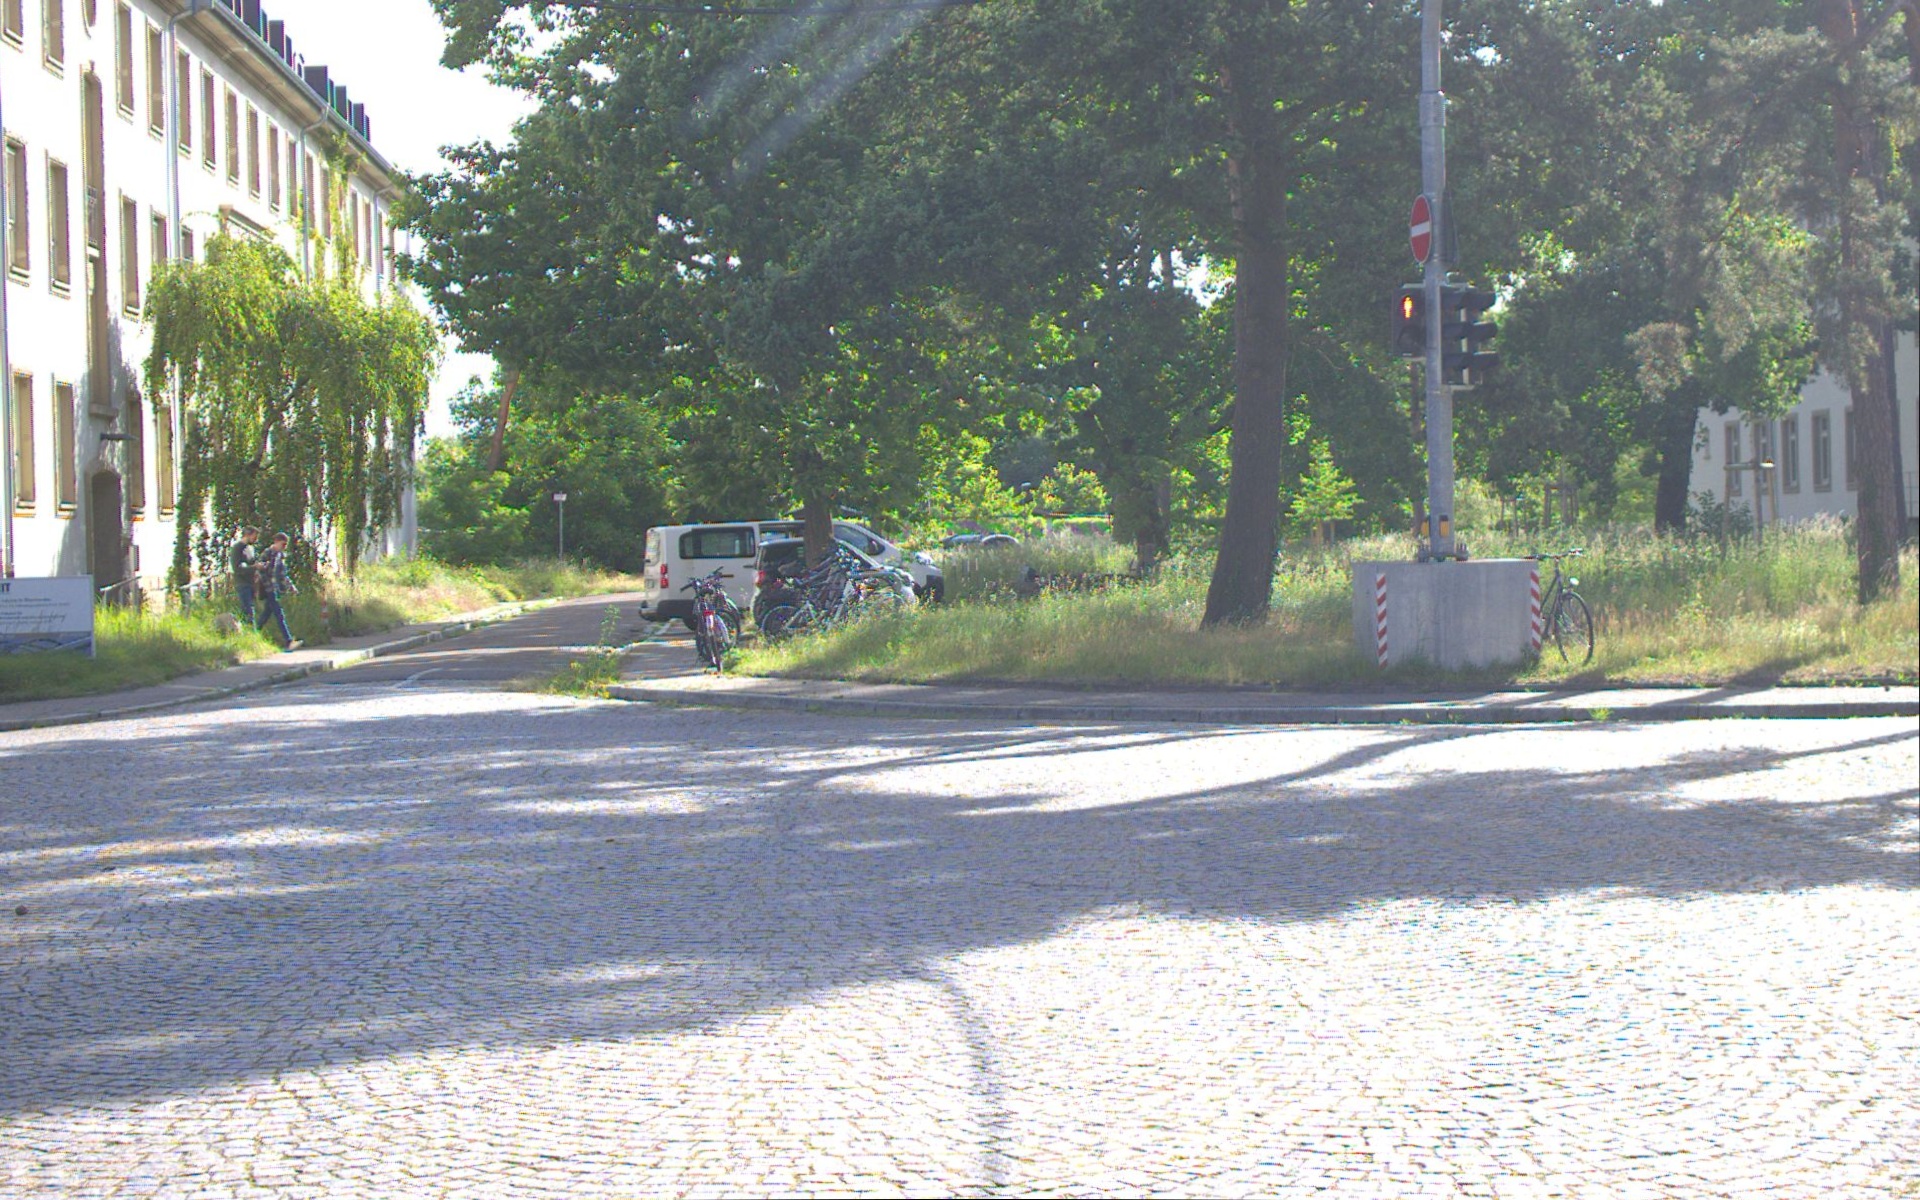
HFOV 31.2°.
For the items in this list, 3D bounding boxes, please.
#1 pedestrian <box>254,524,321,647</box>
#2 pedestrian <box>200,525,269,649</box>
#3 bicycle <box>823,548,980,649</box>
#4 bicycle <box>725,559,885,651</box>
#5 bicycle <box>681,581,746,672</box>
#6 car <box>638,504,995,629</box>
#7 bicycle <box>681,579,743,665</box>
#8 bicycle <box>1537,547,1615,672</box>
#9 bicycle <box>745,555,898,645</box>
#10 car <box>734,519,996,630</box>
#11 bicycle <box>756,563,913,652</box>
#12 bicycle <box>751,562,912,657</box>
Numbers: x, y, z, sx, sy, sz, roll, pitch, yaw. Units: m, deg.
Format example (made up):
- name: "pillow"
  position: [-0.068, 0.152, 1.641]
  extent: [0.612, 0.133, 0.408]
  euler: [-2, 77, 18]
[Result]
- name: "pedestrian"
  position: [-10.111, -0.224, 51.703]
  extent: [0.767, 1.811, 0.682]
  euler: [-1, 1, 8]
- name: "pedestrian"
  position: [-10.744, -0.192, 50.908]
  extent: [0.812, 1.811, 0.555]
  euler: [-1, 1, 8]
- name: "bicycle"
  position: [-0.750, -0.026, 43.664]
  extent: [1.940, 1.231, 0.485]
  euler: [-1, 1, -5]
- name: "bicycle"
  position: [-1.982, 0.057, 44.130]
  extent: [1.941, 1.125, 0.648]
  euler: [-2, 1, -29]
- name: "bicycle"
  position: [-2.773, 0.289, 38.604]
  extent: [0.695, 0.968, 1.861]
  euler: [-1, 1, -5]
- name: "car"
  position: [-2.541, -0.599, 60.050]
  extent: [5.929, 2.007, 2.476]
  euler: [-1, 1, -9]
- name: "bicycle"
  position: [-2.932, 0.246, 40.534]
  extent: [0.695, 0.968, 1.861]
  euler: [-1, 1, -5]
- name: "bicycle"
  position: [5.416, 0.076, 30.275]
  extent: [0.466, 1.076, 1.174]
  euler: [-1, 1, 1]
- name: "bicycle"
  position: [-1.829, -0.011, 45.230]
  extent: [1.940, 1.125, 0.648]
  euler: [-1, 1, -8]
- name: "car"
  position: [-1.565, -0.429, 55.878]
  extent: [3.986, 1.678, 1.848]
  euler: [-1, 1, -10]
- name: "bicycle"
  position: [-1.543, 0.087, 42.134]
  extent: [1.854, 1.027, 0.750]
  euler: [-1, 1, -5]
- name: "bicycle"
  position: [-1.615, 0.117, 42.927]
  extent: [1.940, 1.125, 0.750]
  euler: [-1, 1, -5]
